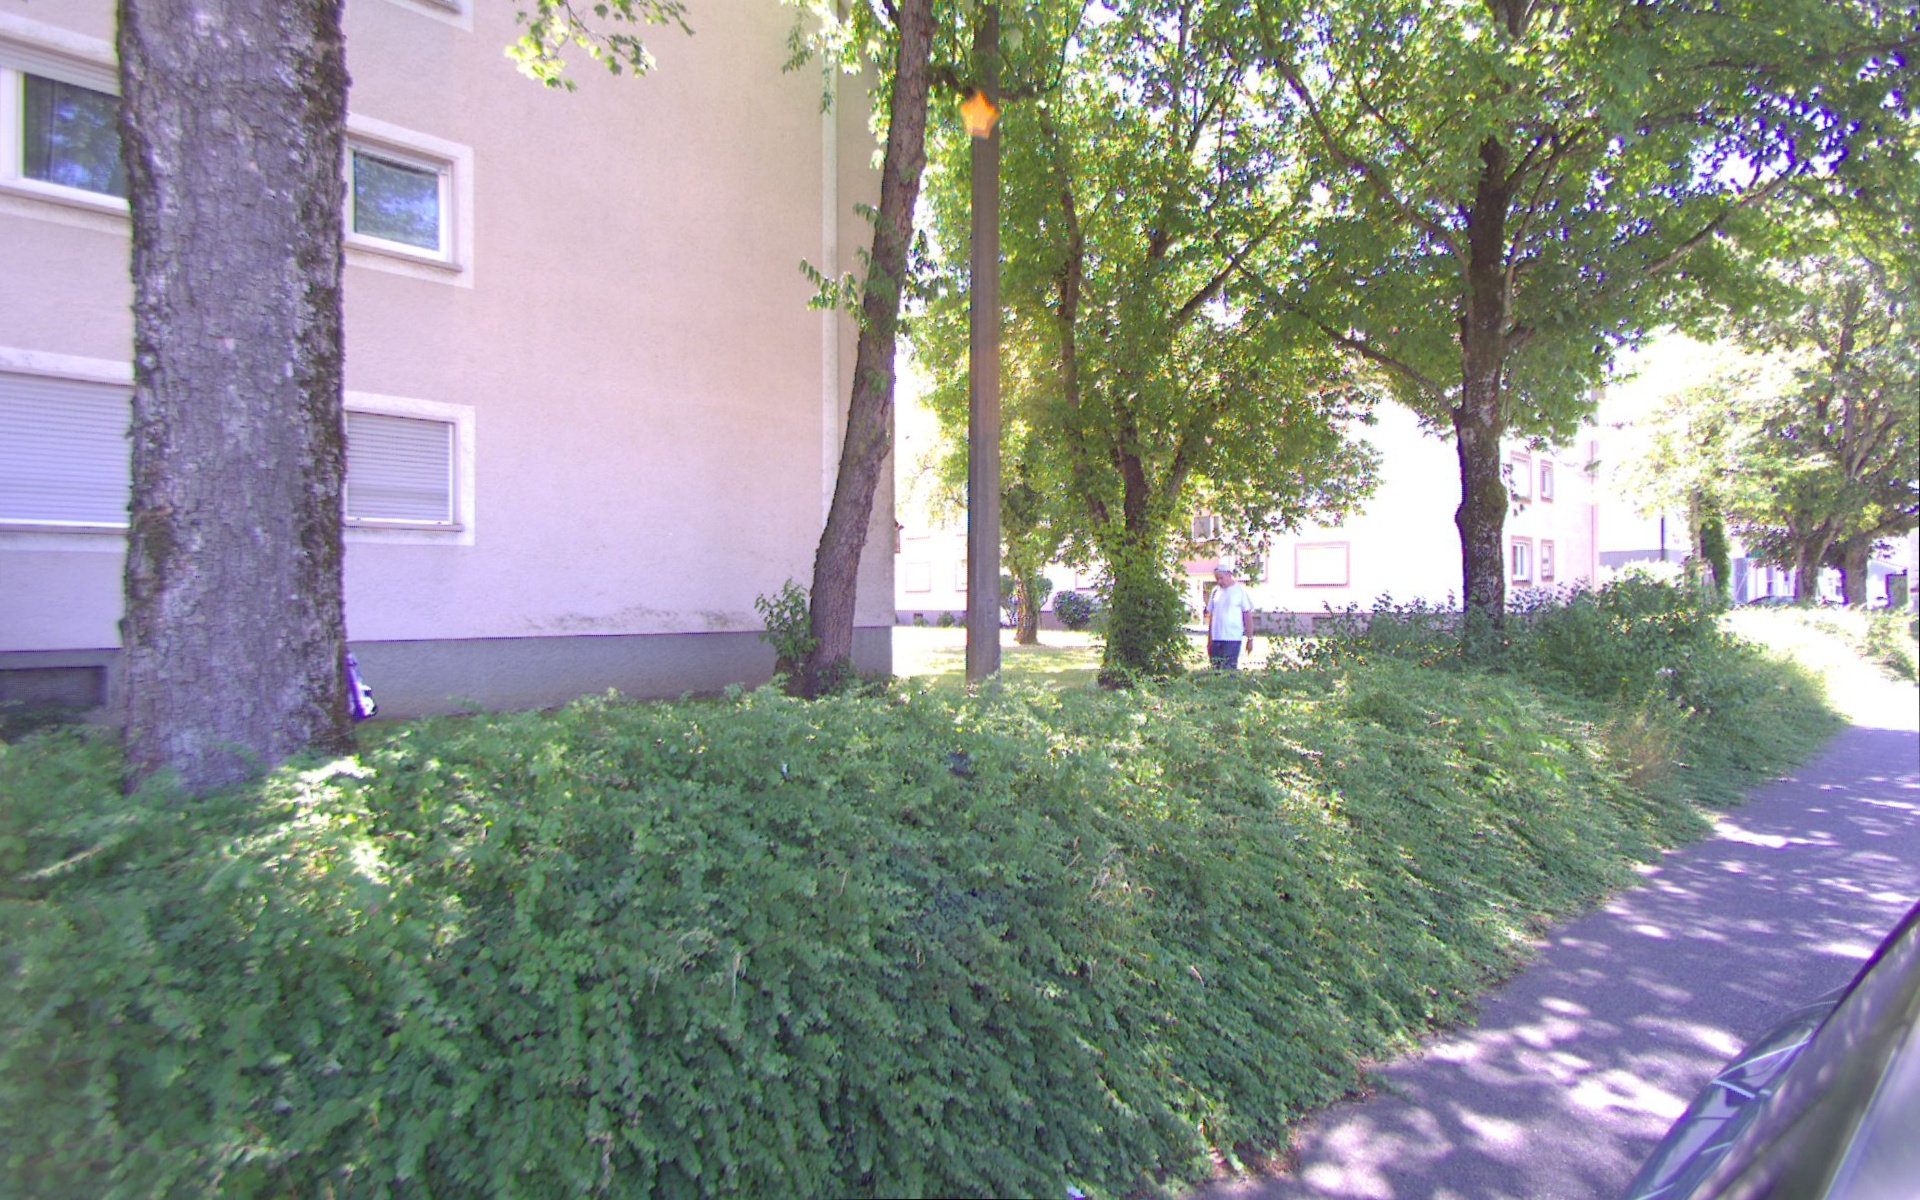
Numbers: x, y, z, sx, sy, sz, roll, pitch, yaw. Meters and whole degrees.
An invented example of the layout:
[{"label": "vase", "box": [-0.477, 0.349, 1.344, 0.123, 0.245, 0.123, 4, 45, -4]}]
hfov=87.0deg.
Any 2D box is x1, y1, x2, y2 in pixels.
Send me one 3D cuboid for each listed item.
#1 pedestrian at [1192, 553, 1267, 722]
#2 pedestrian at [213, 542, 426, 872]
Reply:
[{"label": "pedestrian", "box": [3.183, 0.423, 11.921, 0.668, 1.897, 0.894, -1, 0, 27]}, {"label": "pedestrian", "box": [-3.552, 0.528, 5.627, 0.717, 1.654, 0.839, 0, 0, 41]}]
